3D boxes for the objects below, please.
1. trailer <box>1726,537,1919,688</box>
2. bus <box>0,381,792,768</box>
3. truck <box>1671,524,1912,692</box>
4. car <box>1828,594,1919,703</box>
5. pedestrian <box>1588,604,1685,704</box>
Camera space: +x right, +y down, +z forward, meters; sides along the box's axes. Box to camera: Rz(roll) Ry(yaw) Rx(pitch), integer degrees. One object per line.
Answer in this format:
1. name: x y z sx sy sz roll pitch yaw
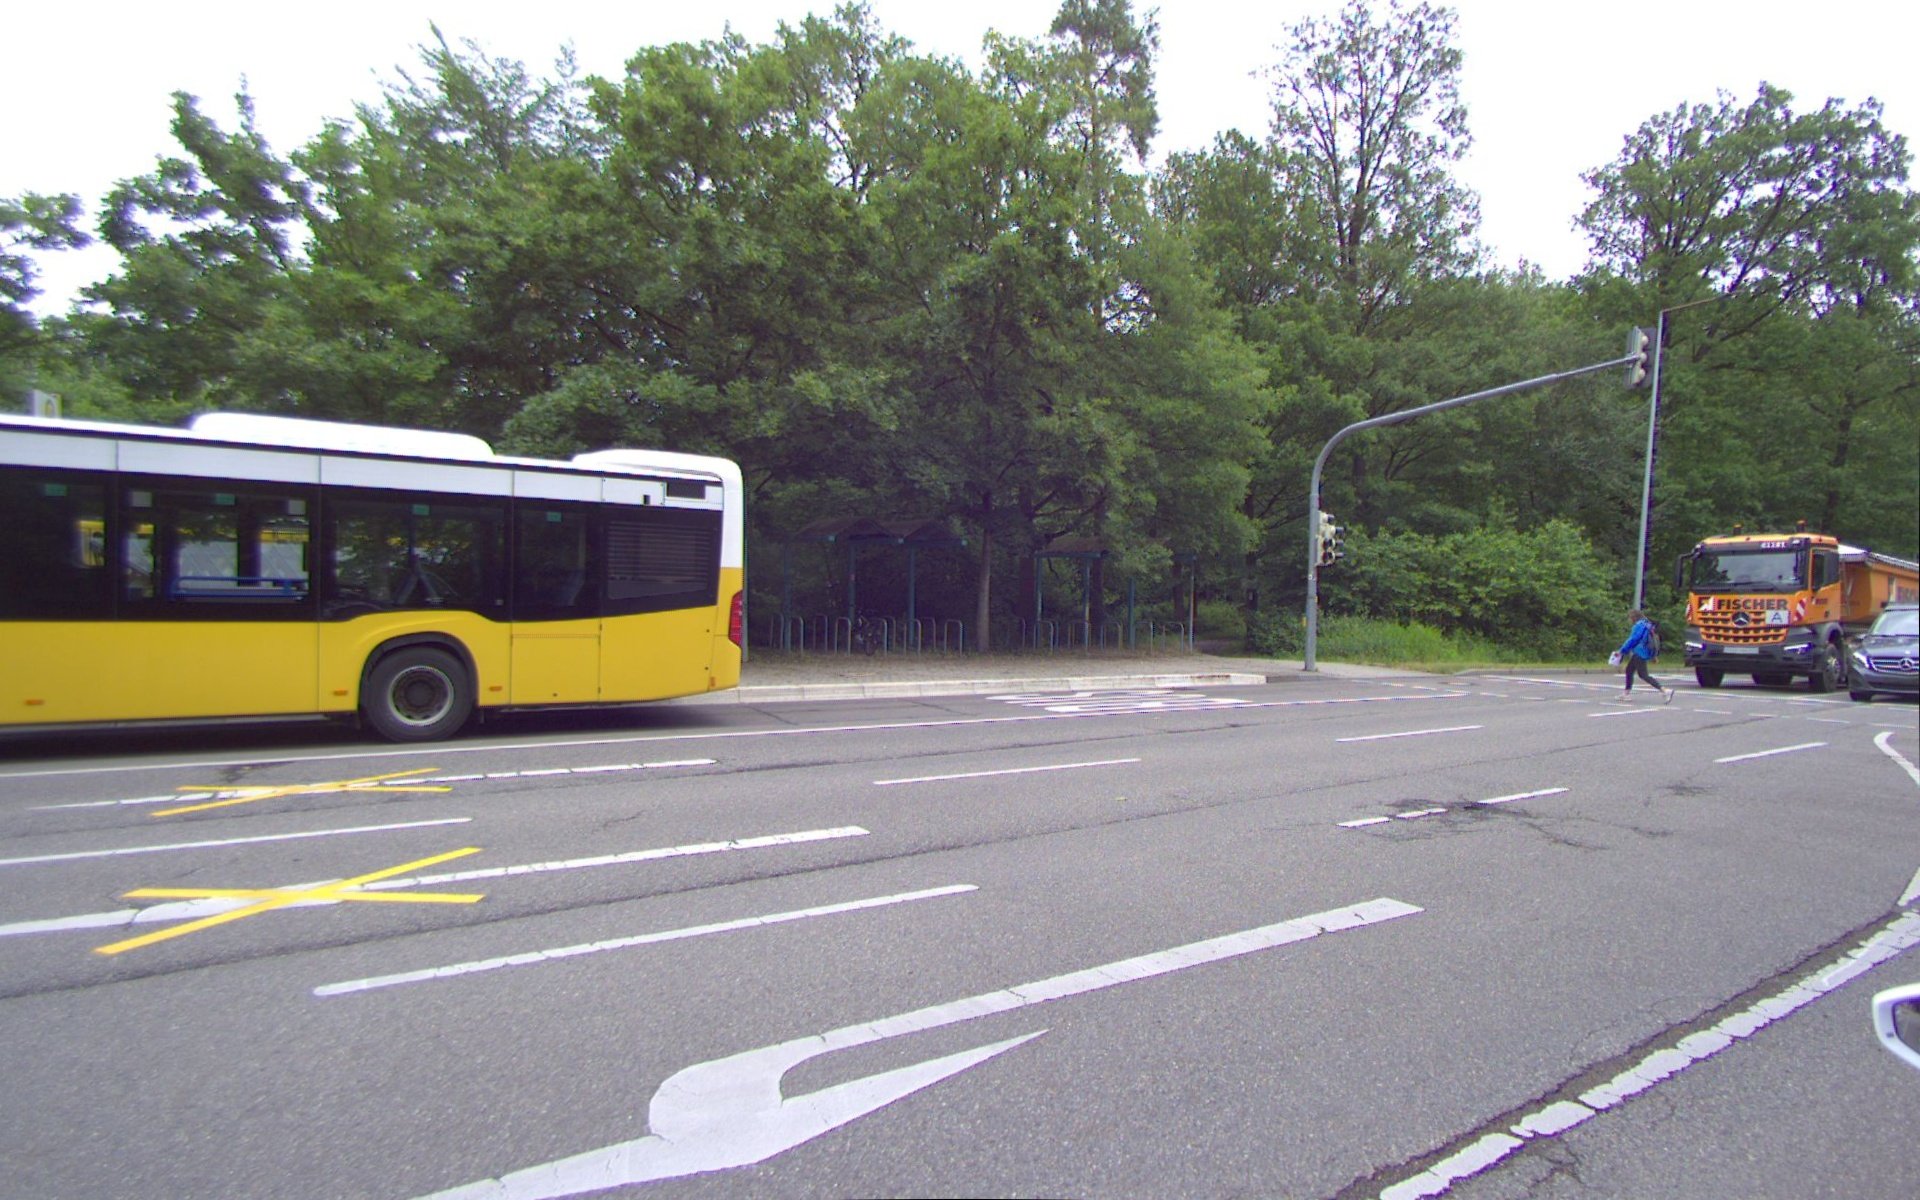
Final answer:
1. trailer: 22.893 0.432 25.935 8.489 3.362 2.719 2 -2 -37
2. bus: -6.403 -0.189 10.811 8.595 3.169 2.883 1 1 -31
3. truck: 19.458 0.285 23.361 7.093 3.362 2.719 2 -2 -37
4. car: 18.649 0.923 19.255 4.791 1.918 1.980 2 -2 -35
5. pedestrian: 11.869 0.916 17.634 1.055 1.671 1.043 0 0 -28
